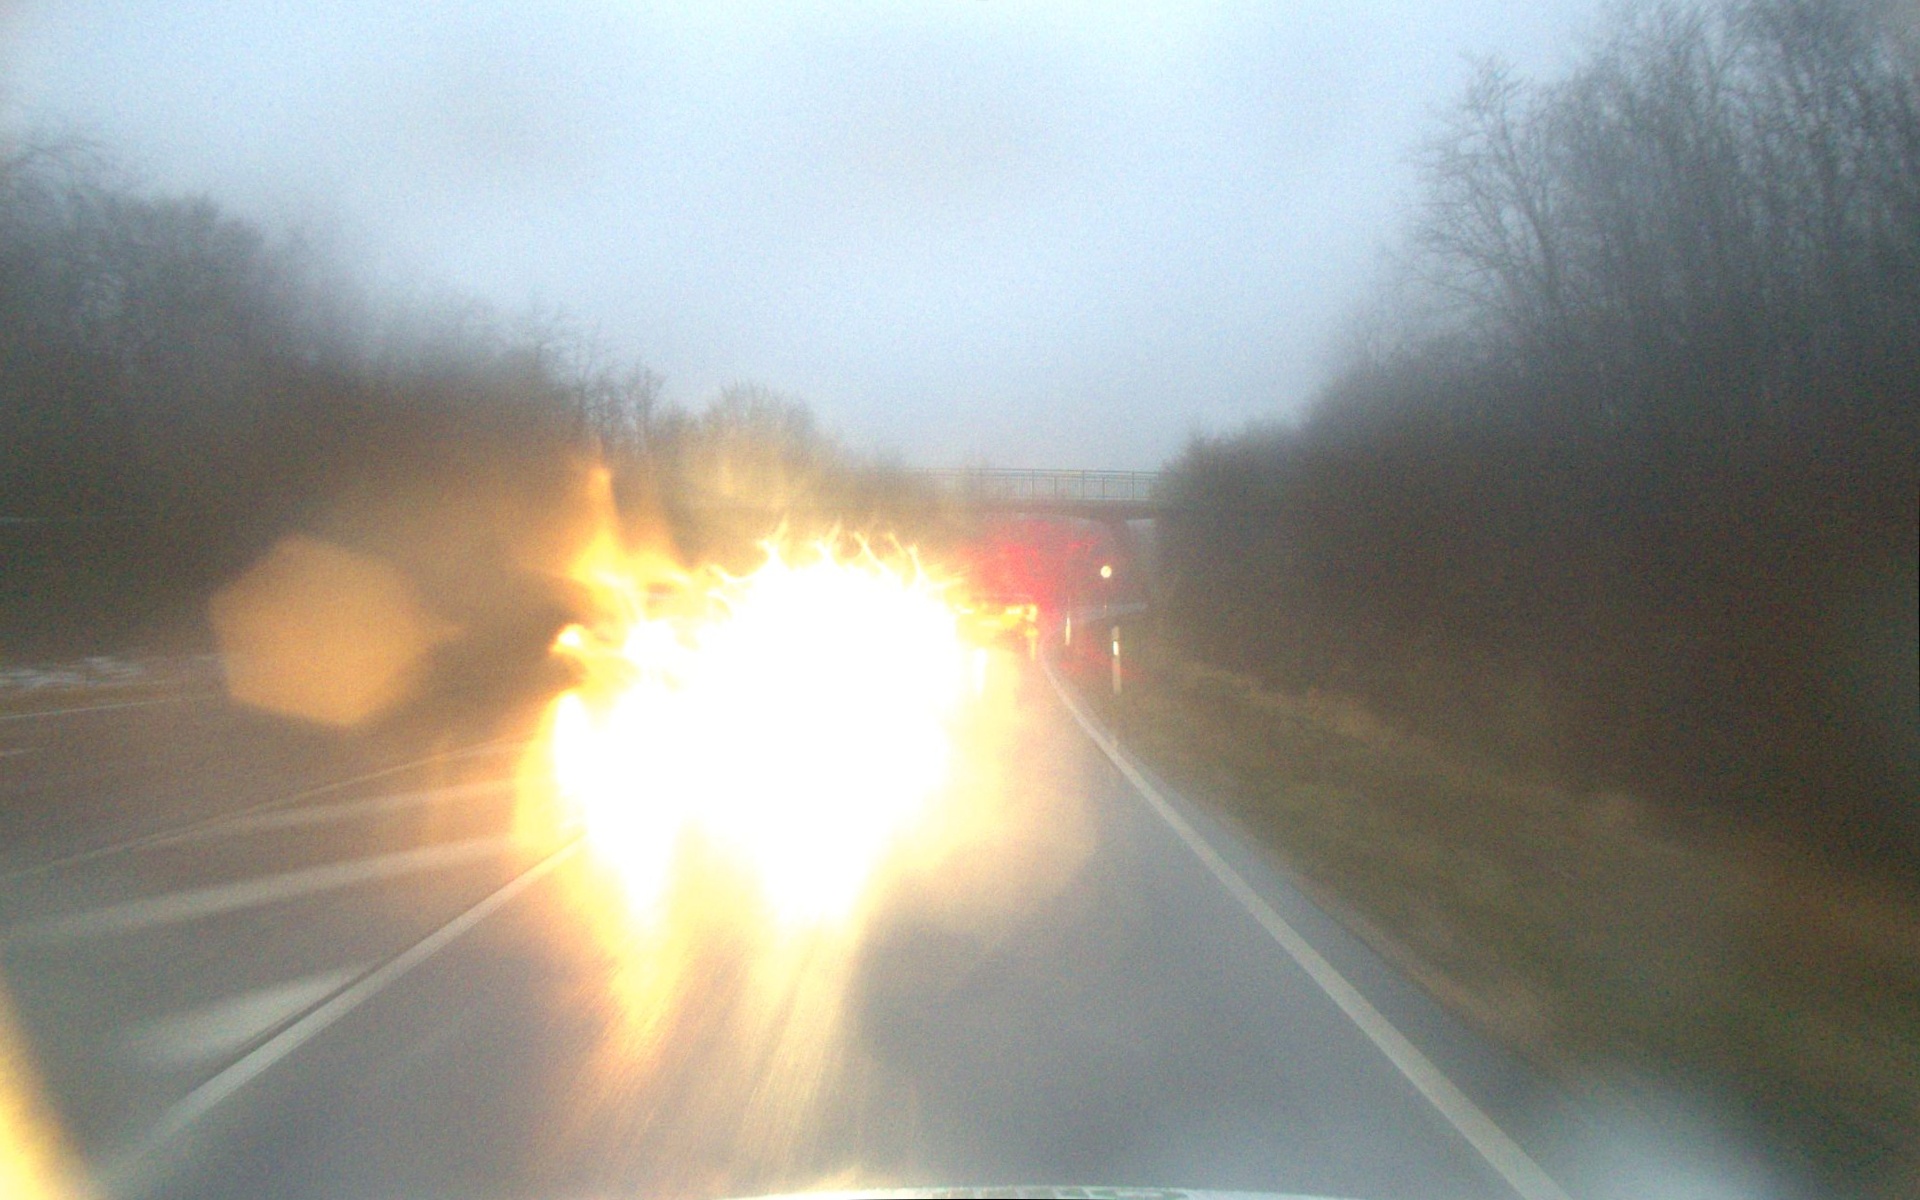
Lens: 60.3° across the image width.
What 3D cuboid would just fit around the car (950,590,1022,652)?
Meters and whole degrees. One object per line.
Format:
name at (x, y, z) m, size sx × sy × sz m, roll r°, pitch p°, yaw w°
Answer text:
car at (0.677, 0.471, 40.260) m, size 1.644 × 1.414 × 4.099 m, roll -1°, pitch 0°, yaw 2°

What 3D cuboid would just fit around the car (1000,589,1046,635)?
car at (2.510, 0.455, 64.708) m, size 1.643 × 1.704 × 4.100 m, roll -1°, pitch 0°, yaw 4°

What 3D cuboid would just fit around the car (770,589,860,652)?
car at (-4.074, 0.541, 47.217) m, size 1.862 × 1.677 × 4.729 m, roll 0°, pitch 1°, yaw 4°

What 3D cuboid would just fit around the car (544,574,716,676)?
car at (-5.565, 0.360, 28.419) m, size 1.785 × 1.550 × 4.301 m, roll -1°, pitch 1°, yaw 4°

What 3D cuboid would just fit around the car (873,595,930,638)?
car at (-2.320, 0.676, 66.538) m, size 1.821 × 1.676 × 4.470 m, roll 0°, pitch -1°, yaw 4°
